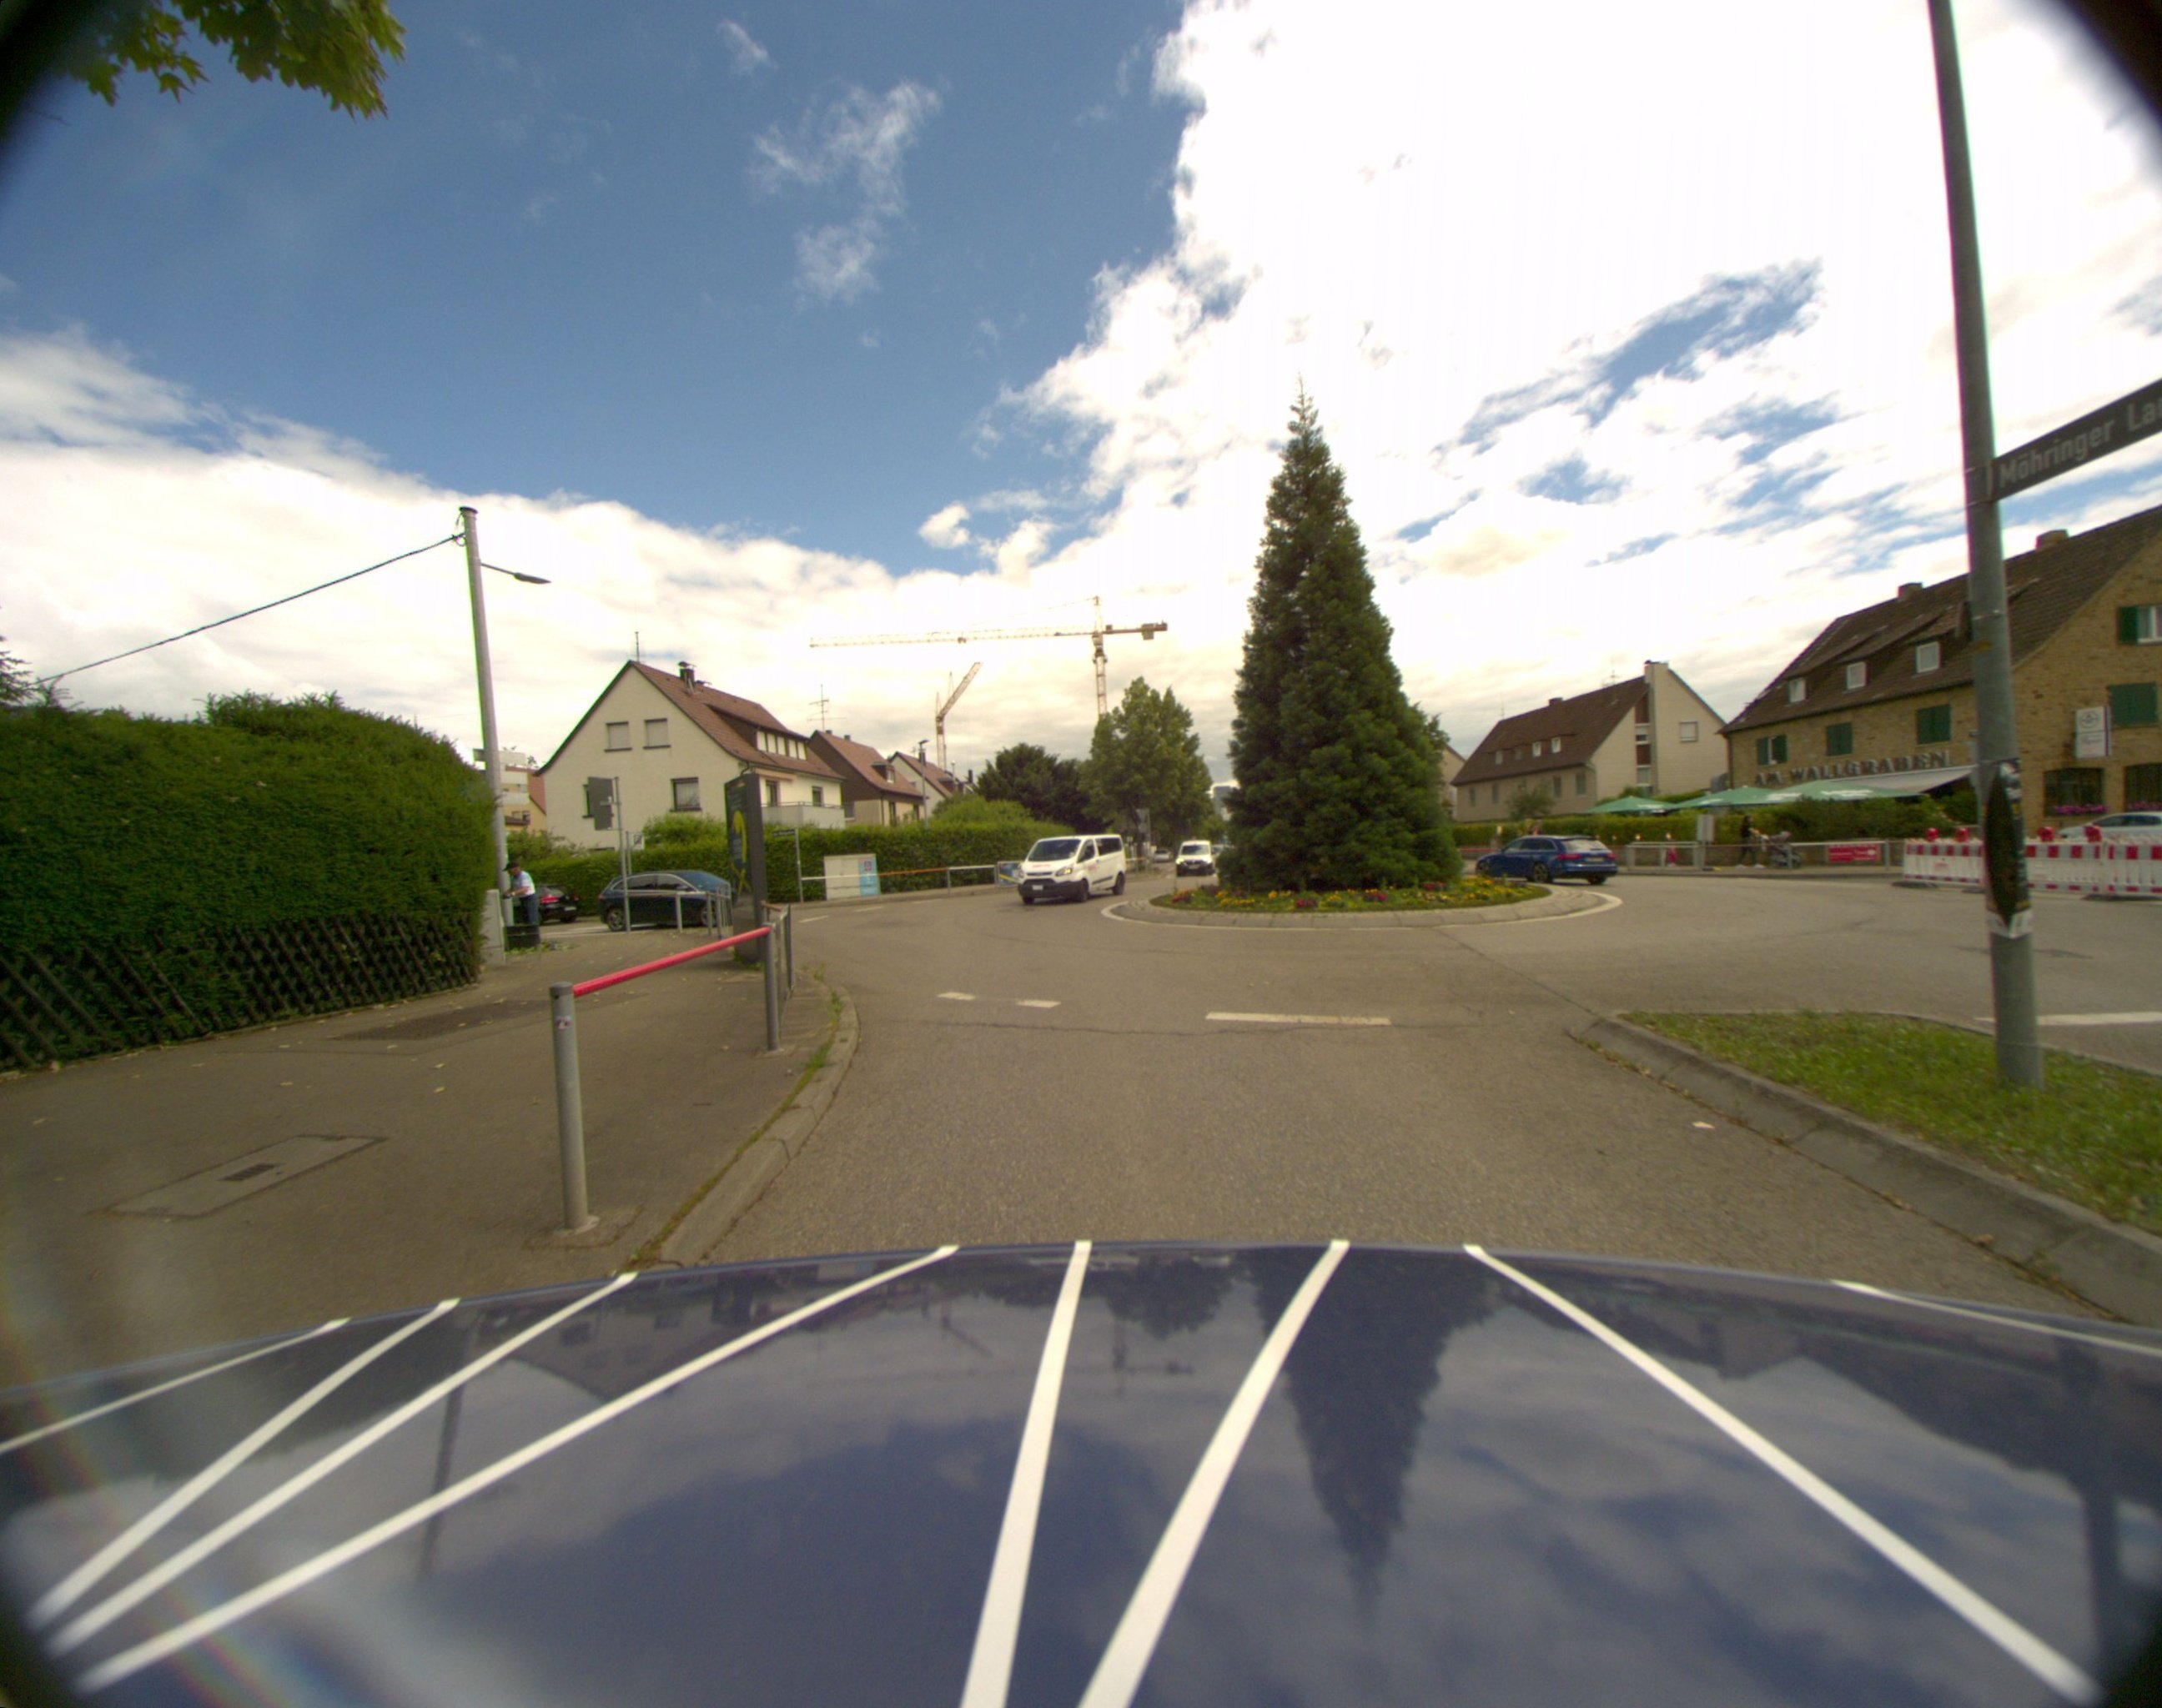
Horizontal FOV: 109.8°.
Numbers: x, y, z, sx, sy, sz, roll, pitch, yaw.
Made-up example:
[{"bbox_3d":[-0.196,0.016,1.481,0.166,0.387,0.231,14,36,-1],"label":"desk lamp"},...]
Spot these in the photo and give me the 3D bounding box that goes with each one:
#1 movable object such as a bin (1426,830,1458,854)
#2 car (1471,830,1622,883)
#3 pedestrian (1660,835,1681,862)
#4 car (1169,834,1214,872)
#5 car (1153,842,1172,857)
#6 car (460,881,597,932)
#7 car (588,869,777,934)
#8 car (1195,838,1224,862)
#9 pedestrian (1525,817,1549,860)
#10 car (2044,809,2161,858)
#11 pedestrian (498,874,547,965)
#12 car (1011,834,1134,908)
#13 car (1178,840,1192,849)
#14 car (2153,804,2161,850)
[{"bbox_3d":[22.530,-0.741,47.473,0.983,1.408,2.723,-3,1,8],"label":"movable object such as a bin"},{"bbox_3d":[13.606,-0.003,22.573,1.613,1.364,4.504,-2,2,-2],"label":"car"},{"bbox_3d":[20.720,-0.182,26.707,0.341,0.907,0.427,-5,1,-29],"label":"pedestrian"},{"bbox_3d":[5.734,-0.103,39.168,1.925,1.744,4.003,-3,1,12],"label":"car"},{"bbox_3d":[8.338,-0.434,78.020,1.780,1.446,4.172,-2,1,5],"label":"car"},{"bbox_3d":[-19.579,1.844,27.015,3.612,1.446,1.709,-4,1,4],"label":"car"},{"bbox_3d":[-10.535,1.250,20.190,4.314,1.440,1.584,-3,1,10],"label":"car"},{"bbox_3d":[9.218,-0.333,54.156,1.777,1.545,4.003,-3,1,12],"label":"car"},{"bbox_3d":[20.048,-0.669,33.386,0.637,1.816,0.567,-4,1,2],"label":"pedestrian"},{"bbox_3d":[33.597,-0.697,24.262,1.466,1.412,3.675,-2,3,11],"label":"car"},{"bbox_3d":[-10.641,1.217,14.475,0.595,1.647,0.652,-4,2,-41],"label":"pedestrian"},{"bbox_3d":[-0.114,0.437,23.938,1.995,2.002,5.057,-2,1,22],"label":"car"},{"bbox_3d":[15.756,-1.462,114.822,1.809,1.334,4.003,-3,1,12],"label":"car"},{"bbox_3d":[35.817,-0.824,23.396,1.396,1.493,3.231,-2,3,11],"label":"car"}]
